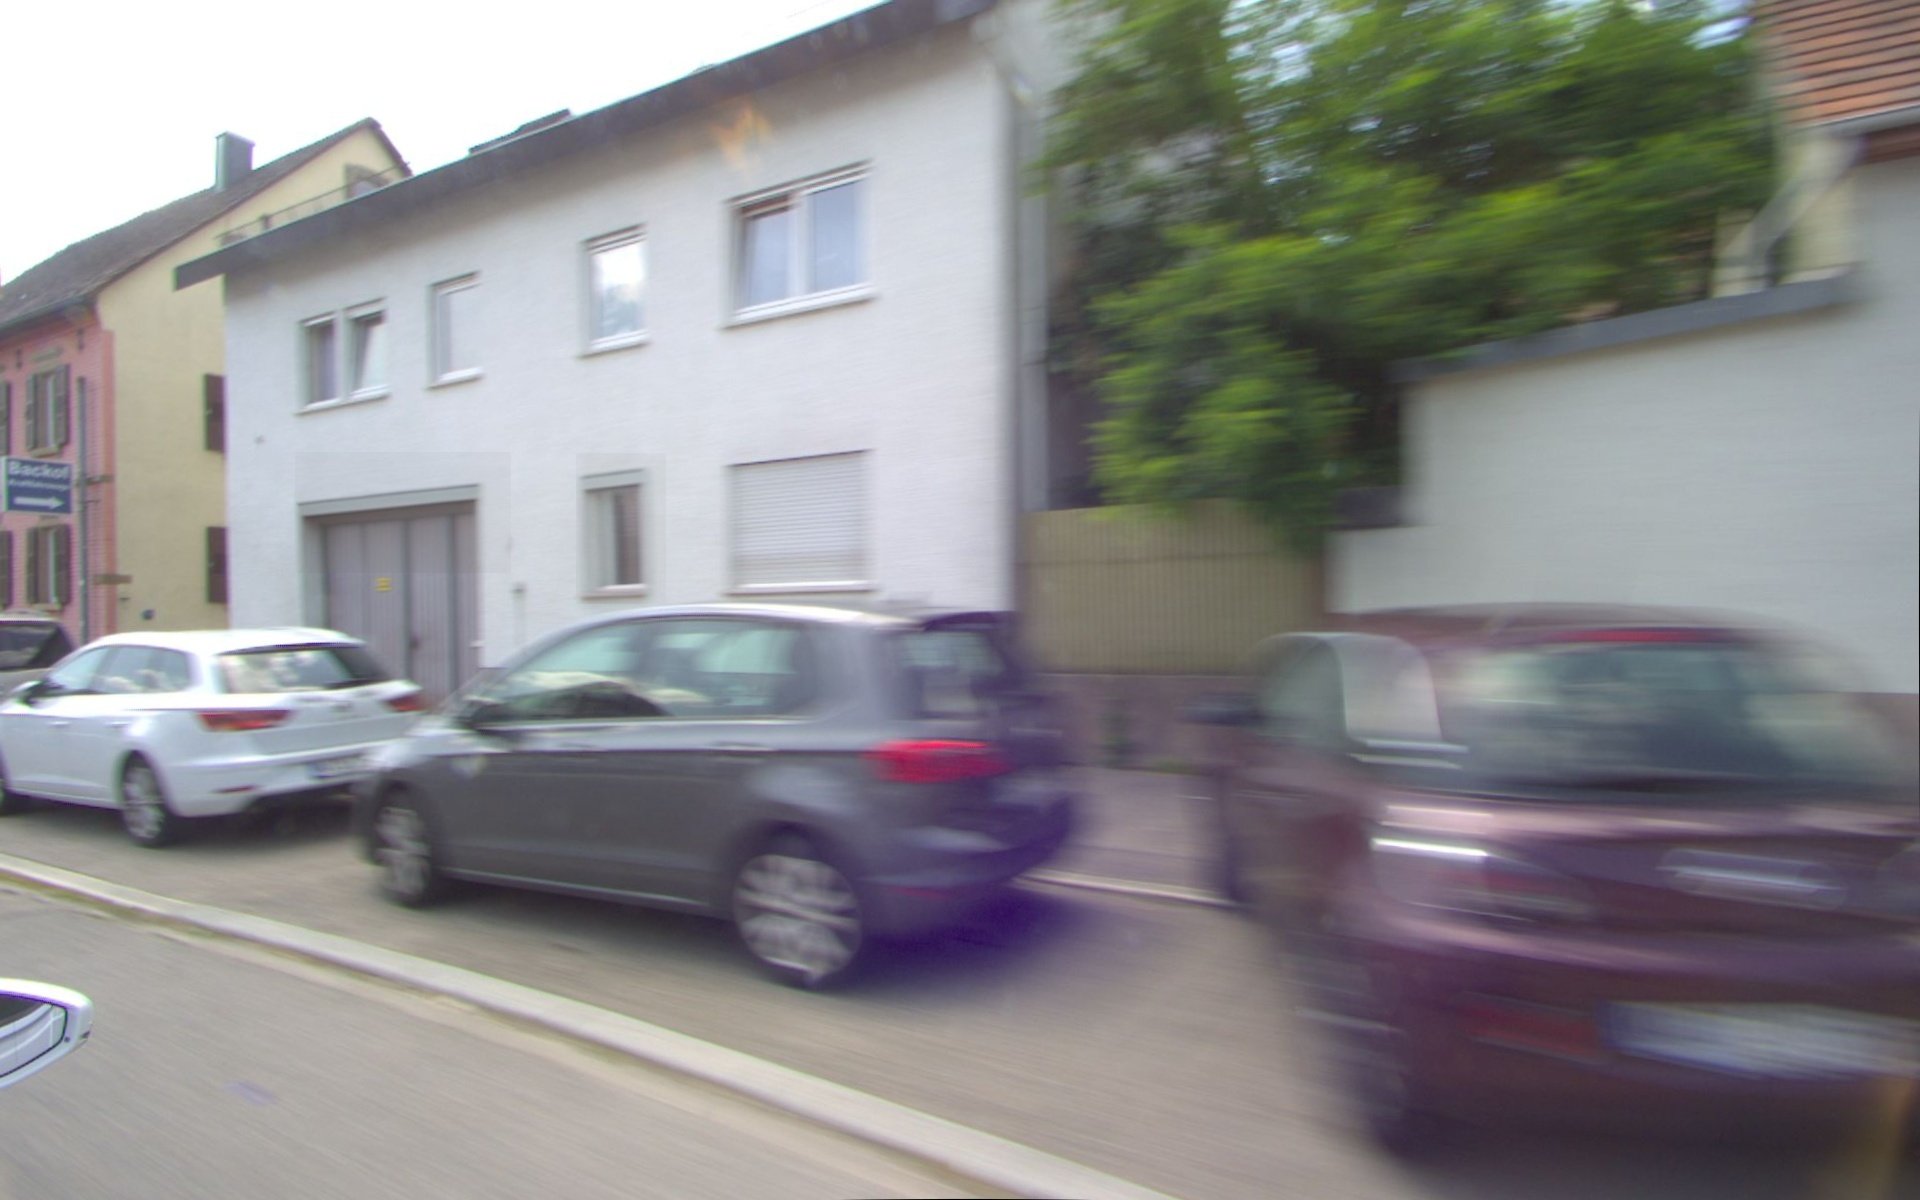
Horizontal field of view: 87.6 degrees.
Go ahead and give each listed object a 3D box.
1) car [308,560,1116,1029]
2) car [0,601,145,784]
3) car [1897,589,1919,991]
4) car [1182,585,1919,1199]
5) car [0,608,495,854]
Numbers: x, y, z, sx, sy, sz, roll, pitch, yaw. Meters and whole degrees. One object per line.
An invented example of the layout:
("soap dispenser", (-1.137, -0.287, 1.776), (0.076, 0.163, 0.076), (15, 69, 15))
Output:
("car", (-1.454, 0.734, 5.307), (4.208, 1.645, 1.660), (-1, -1, 30))
("car", (-10.692, 0.904, 10.556), (4.261, 1.702, 1.990), (-1, -1, 32))
("car", (4.370, 0.682, 2.376), (1.842, 1.524, 2.788), (0, -1, 8))
("car", (1.982, 0.730, 3.805), (1.791, 1.525, 3.236), (0, 0, 5))
("car", (-6.088, 0.877, 8.146), (4.303, 1.537, 1.993), (-1, -1, 28))
